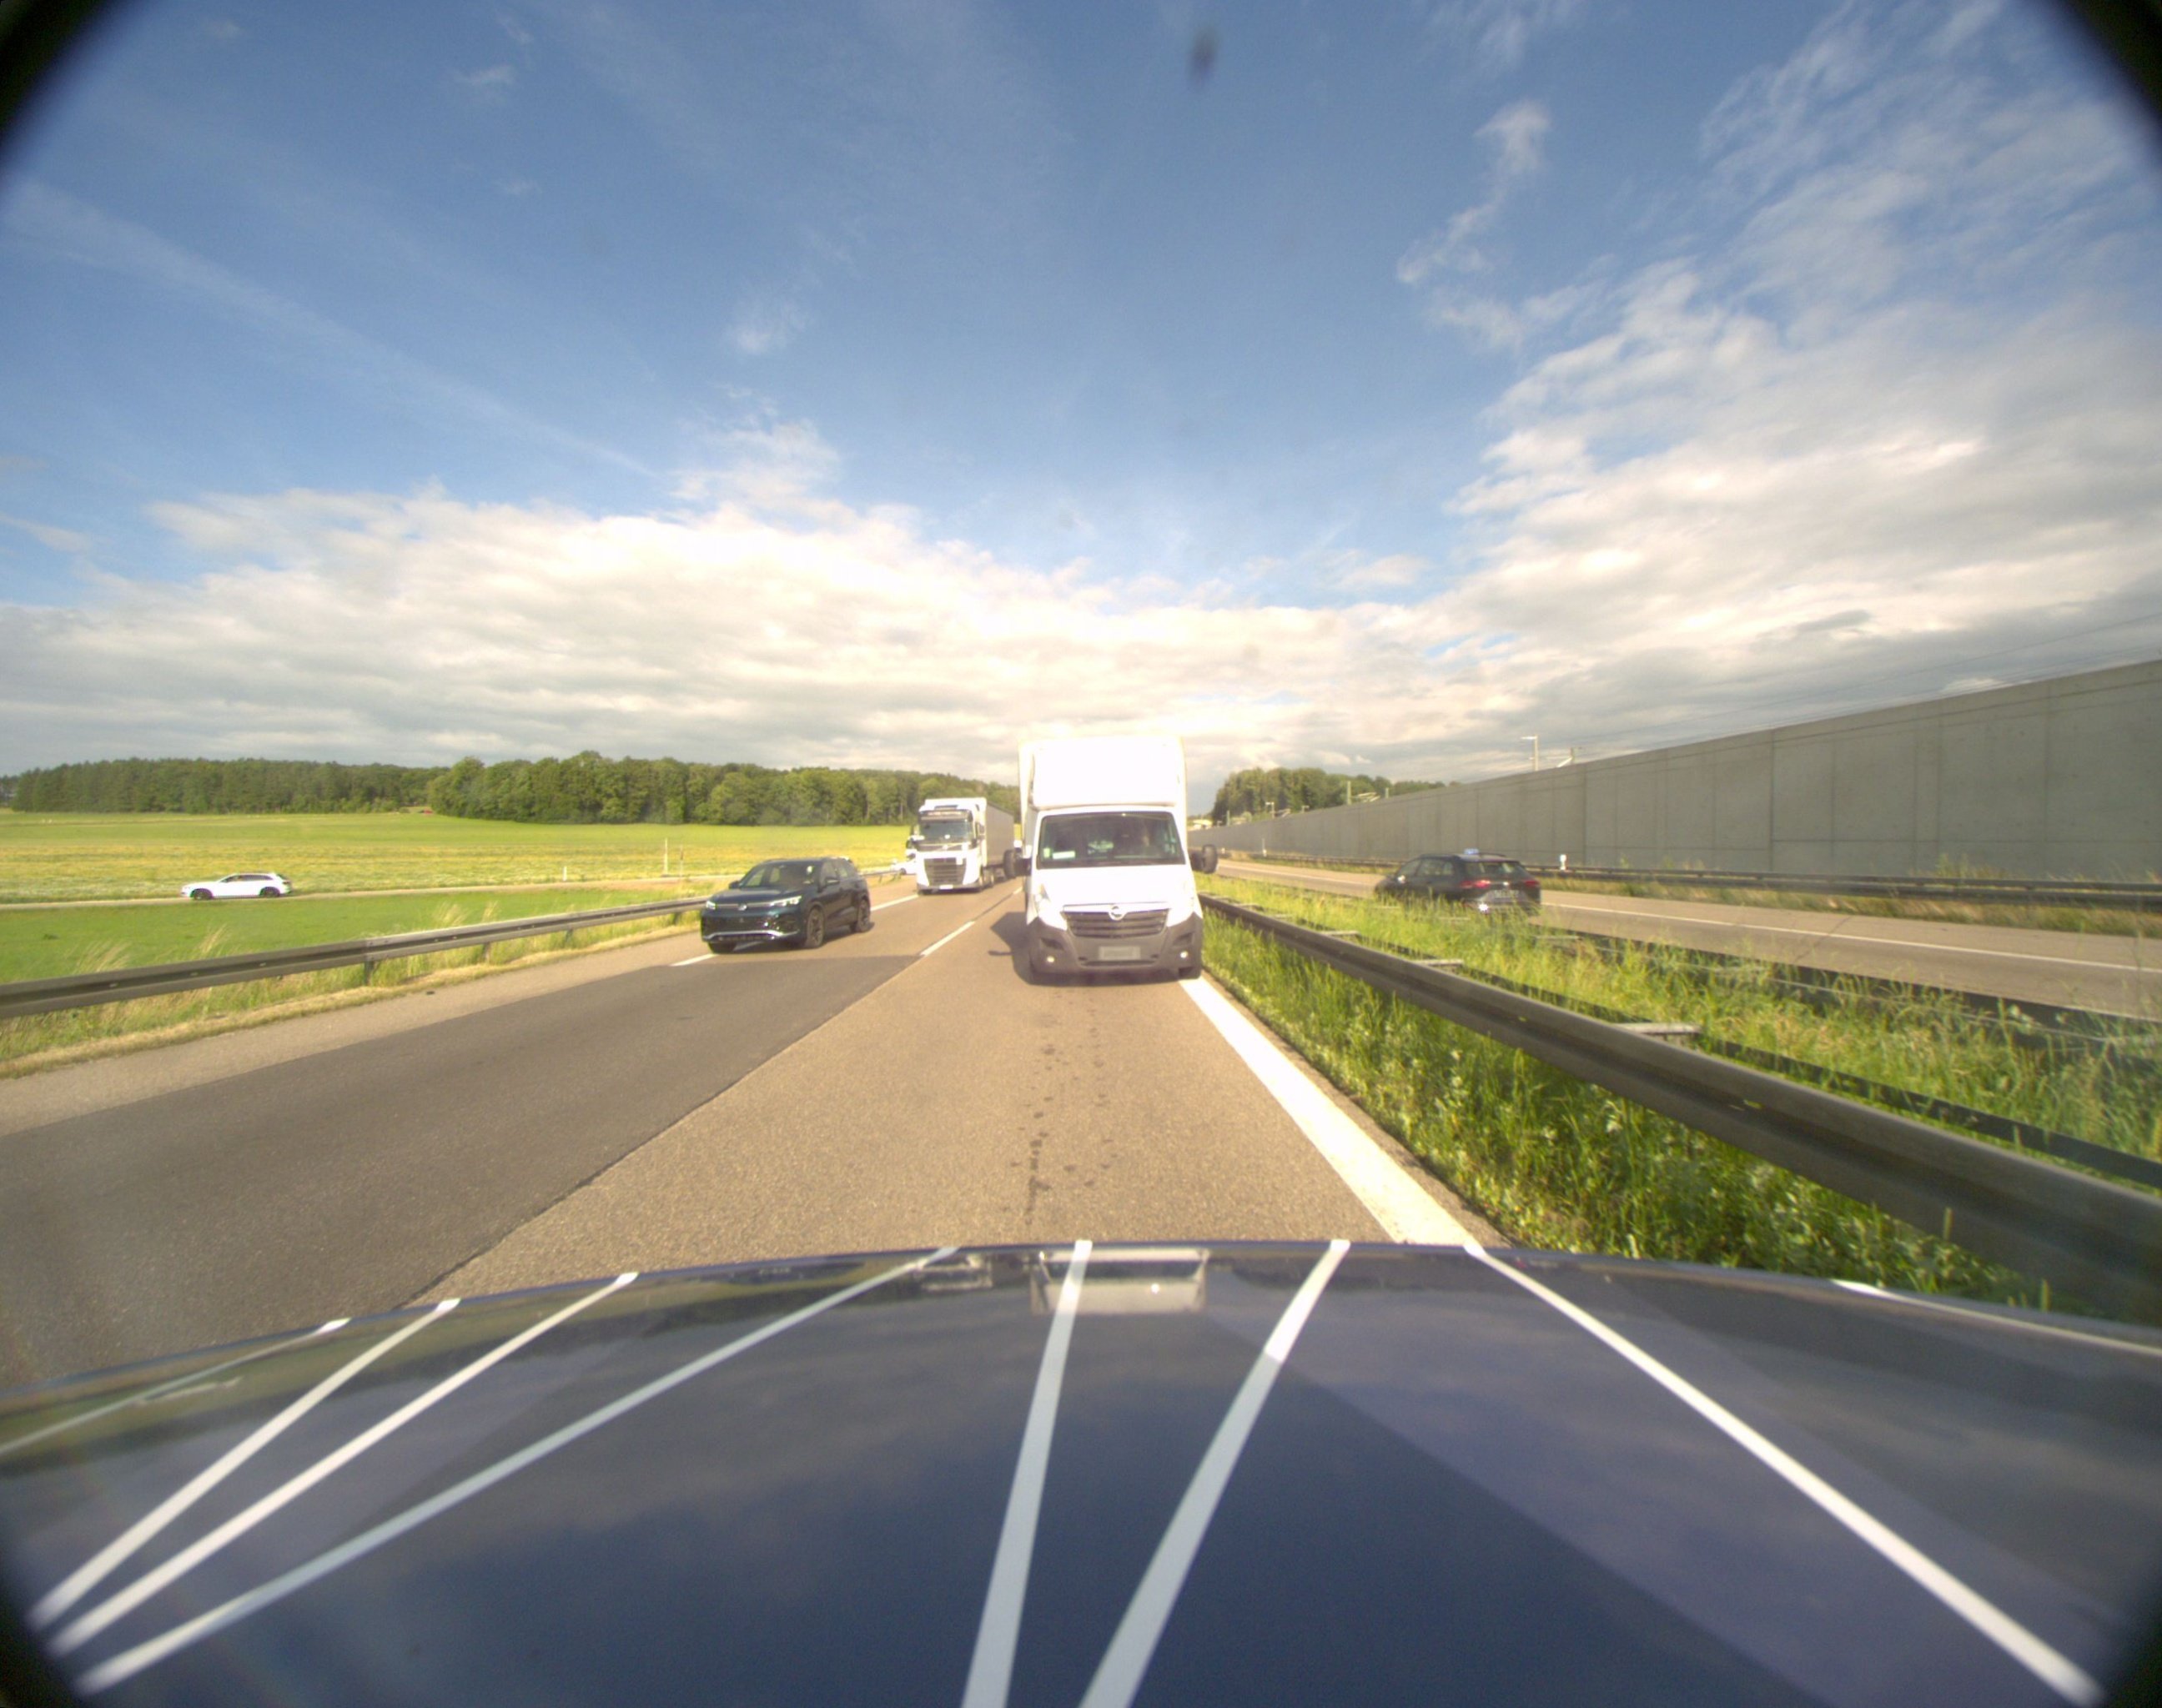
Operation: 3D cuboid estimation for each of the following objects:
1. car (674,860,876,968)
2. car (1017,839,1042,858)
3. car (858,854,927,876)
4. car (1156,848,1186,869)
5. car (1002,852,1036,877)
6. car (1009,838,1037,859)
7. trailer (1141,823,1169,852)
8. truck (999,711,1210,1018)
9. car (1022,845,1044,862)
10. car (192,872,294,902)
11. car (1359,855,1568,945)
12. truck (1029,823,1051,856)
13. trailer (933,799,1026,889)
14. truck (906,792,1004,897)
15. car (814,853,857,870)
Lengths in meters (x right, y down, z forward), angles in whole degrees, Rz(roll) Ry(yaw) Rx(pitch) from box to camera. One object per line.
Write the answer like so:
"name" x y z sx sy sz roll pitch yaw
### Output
"car" -5.527 1.000 14.402 1.998 1.587 4.119 -2 1 1
"car" -4.910 -0.556 72.649 1.998 1.647 3.999 -2 1 1
"car" -15.210 0.870 61.303 5.085 1.537 1.996 -3 1 -21
"car" 7.172 0.313 60.876 1.848 1.499 4.550 -2 1 1
"car" -4.488 0.718 55.576 1.998 1.647 3.999 -2 1 1
"car" -4.950 -0.462 65.435 1.998 1.647 3.999 -2 1 1
"trailer" 11.177 -2.406 115.497 2.661 4.057 12.393 -2 1 -1
"truck" 0.339 0.063 11.705 2.059 3.088 7.803 -2 1 1
"car" -4.955 -0.121 79.132 1.998 1.647 3.999 -2 1 1
"car" -52.750 2.029 47.974 4.007 1.609 1.995 -3 1 -39
"car" 7.650 0.819 15.792 1.999 1.477 4.397 -2 1 -2
"truck" -4.812 -1.685 90.201 1.998 3.663 5.931 -2 1 1
"trailer" -5.025 -0.512 40.327 2.826 3.959 12.127 -2 1 1
"truck" -5.217 -0.404 32.691 2.842 3.967 6.500 -2 1 1
"car" -23.829 0.748 73.845 3.567 1.521 1.720 -3 1 -38
